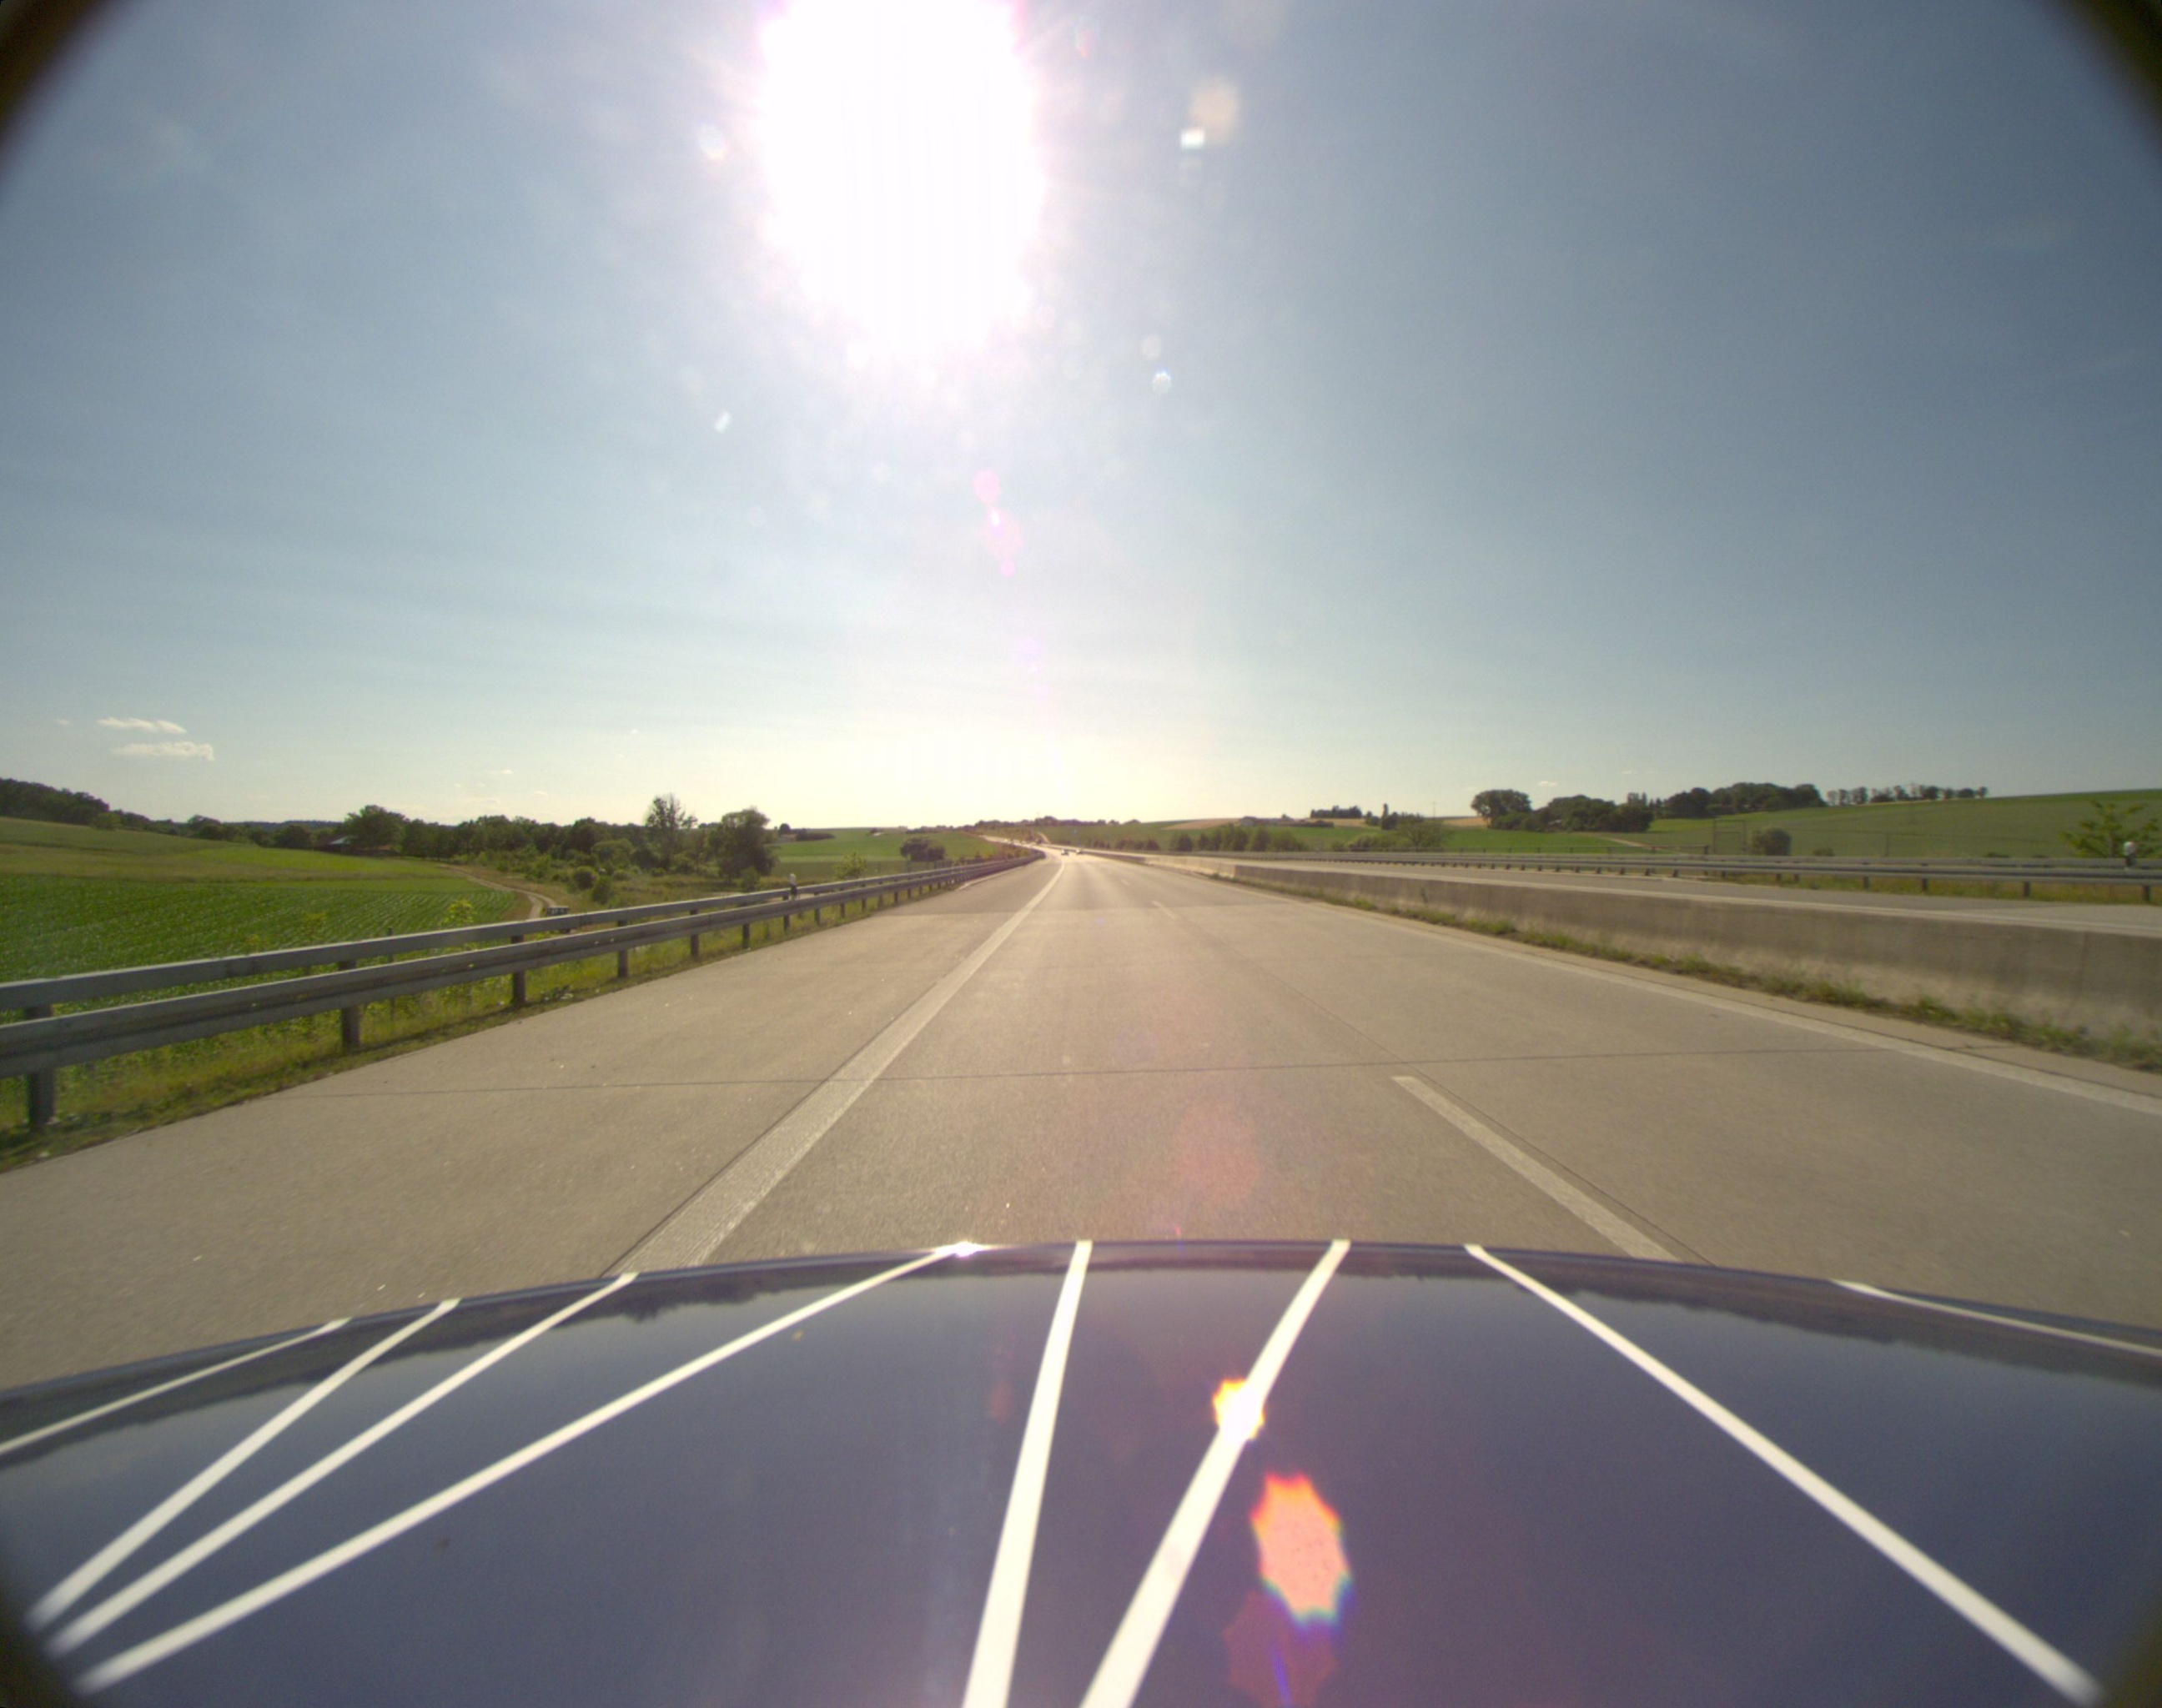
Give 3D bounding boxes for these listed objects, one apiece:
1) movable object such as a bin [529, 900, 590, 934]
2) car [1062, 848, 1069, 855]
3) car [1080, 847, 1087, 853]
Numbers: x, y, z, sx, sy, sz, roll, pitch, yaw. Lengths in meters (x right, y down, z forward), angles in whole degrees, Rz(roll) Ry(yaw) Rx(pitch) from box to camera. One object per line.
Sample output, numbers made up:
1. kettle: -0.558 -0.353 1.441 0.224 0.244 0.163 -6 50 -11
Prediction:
1. movable object such as a bin: -52.417 6.238 76.341 6.214 2.756 3.292 -1 3 39
2. car: -3.934 -0.745 197.433 1.715 1.580 4.625 -2 2 -1
3. car: 0.727 -1.044 198.590 1.715 1.580 4.625 -2 2 0
